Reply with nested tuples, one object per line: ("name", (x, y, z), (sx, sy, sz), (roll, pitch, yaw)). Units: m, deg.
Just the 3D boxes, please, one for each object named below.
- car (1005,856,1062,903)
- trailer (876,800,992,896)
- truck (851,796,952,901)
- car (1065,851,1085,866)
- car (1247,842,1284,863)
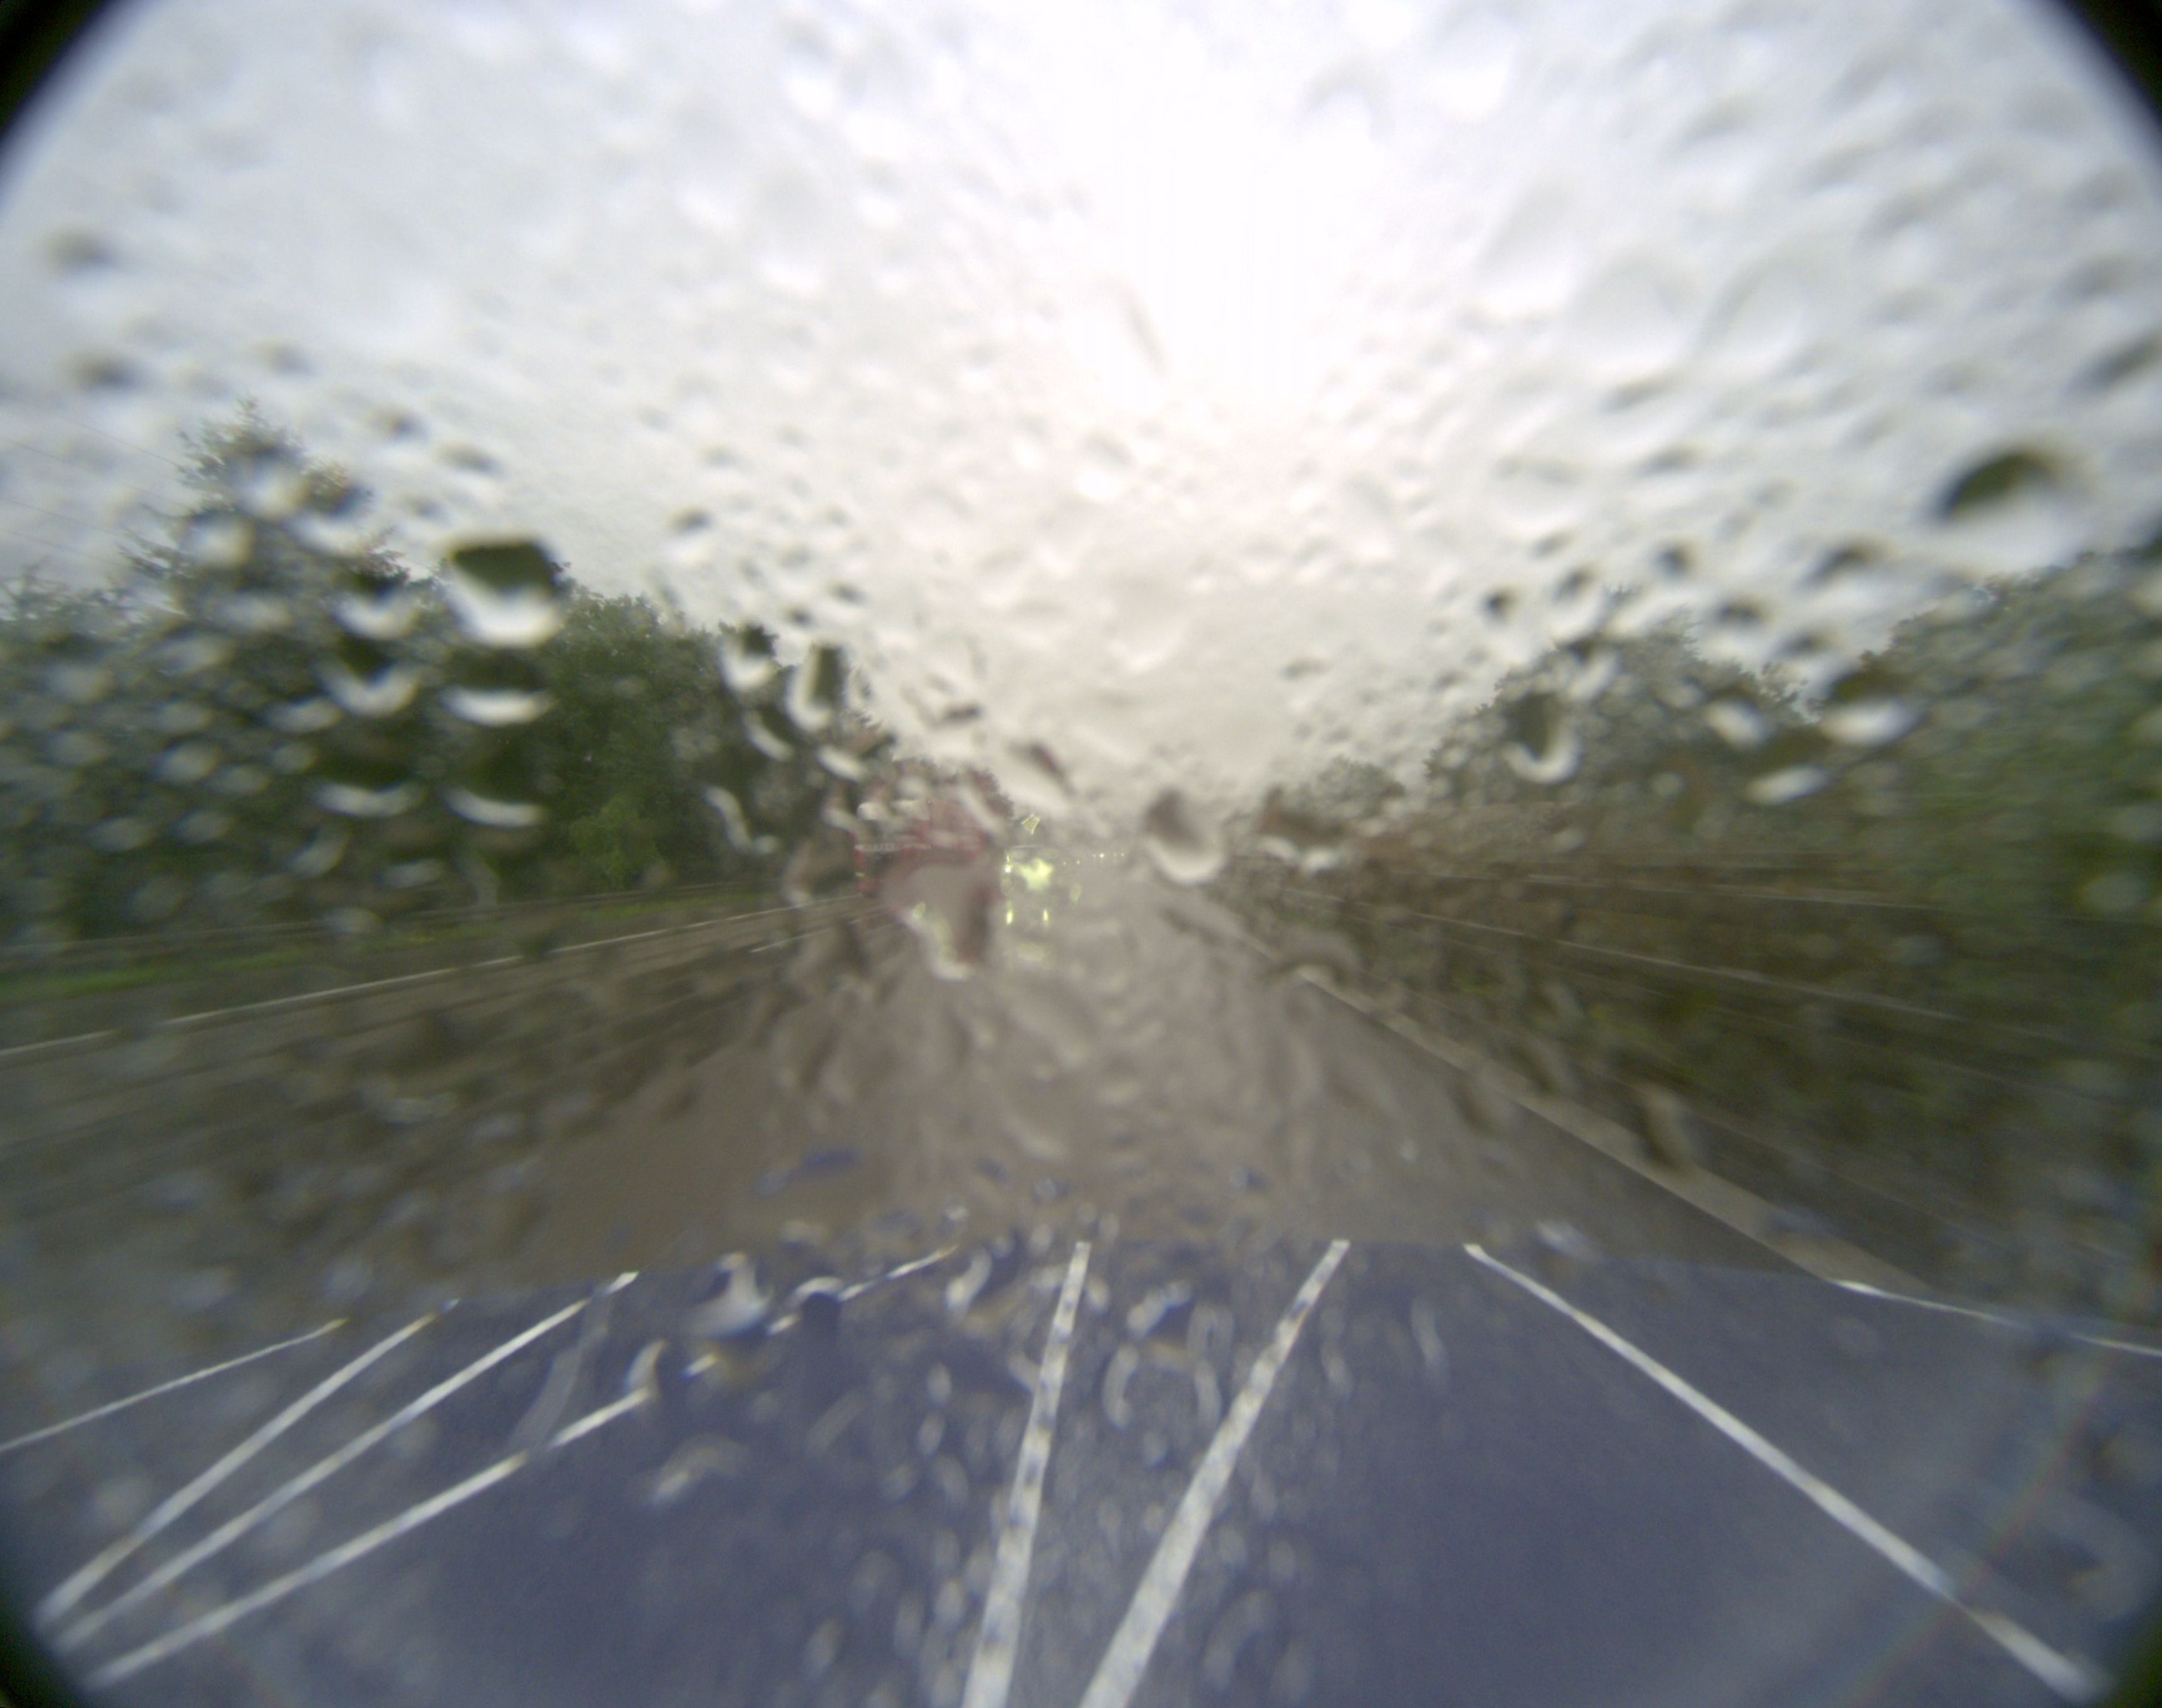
("car", (-2.087, 1.095, 34.906), (1.891, 1.873, 5.010), (-5, 0, 4))
("trailer", (-7.024, -0.337, 38.929), (2.626, 3.932, 13.630), (-2, 1, 2))
("truck", (-7.322, -0.248, 31.771), (2.626, 3.932, 5.433), (-2, 1, 2))
("car", (-0.602, 0.511, 83.047), (1.769, 1.448, 3.960), (-5, 0, 4))
("car", (14.454, -0.128, 59.769), (1.998, 1.455, 4.000), (-3, 1, 1))
